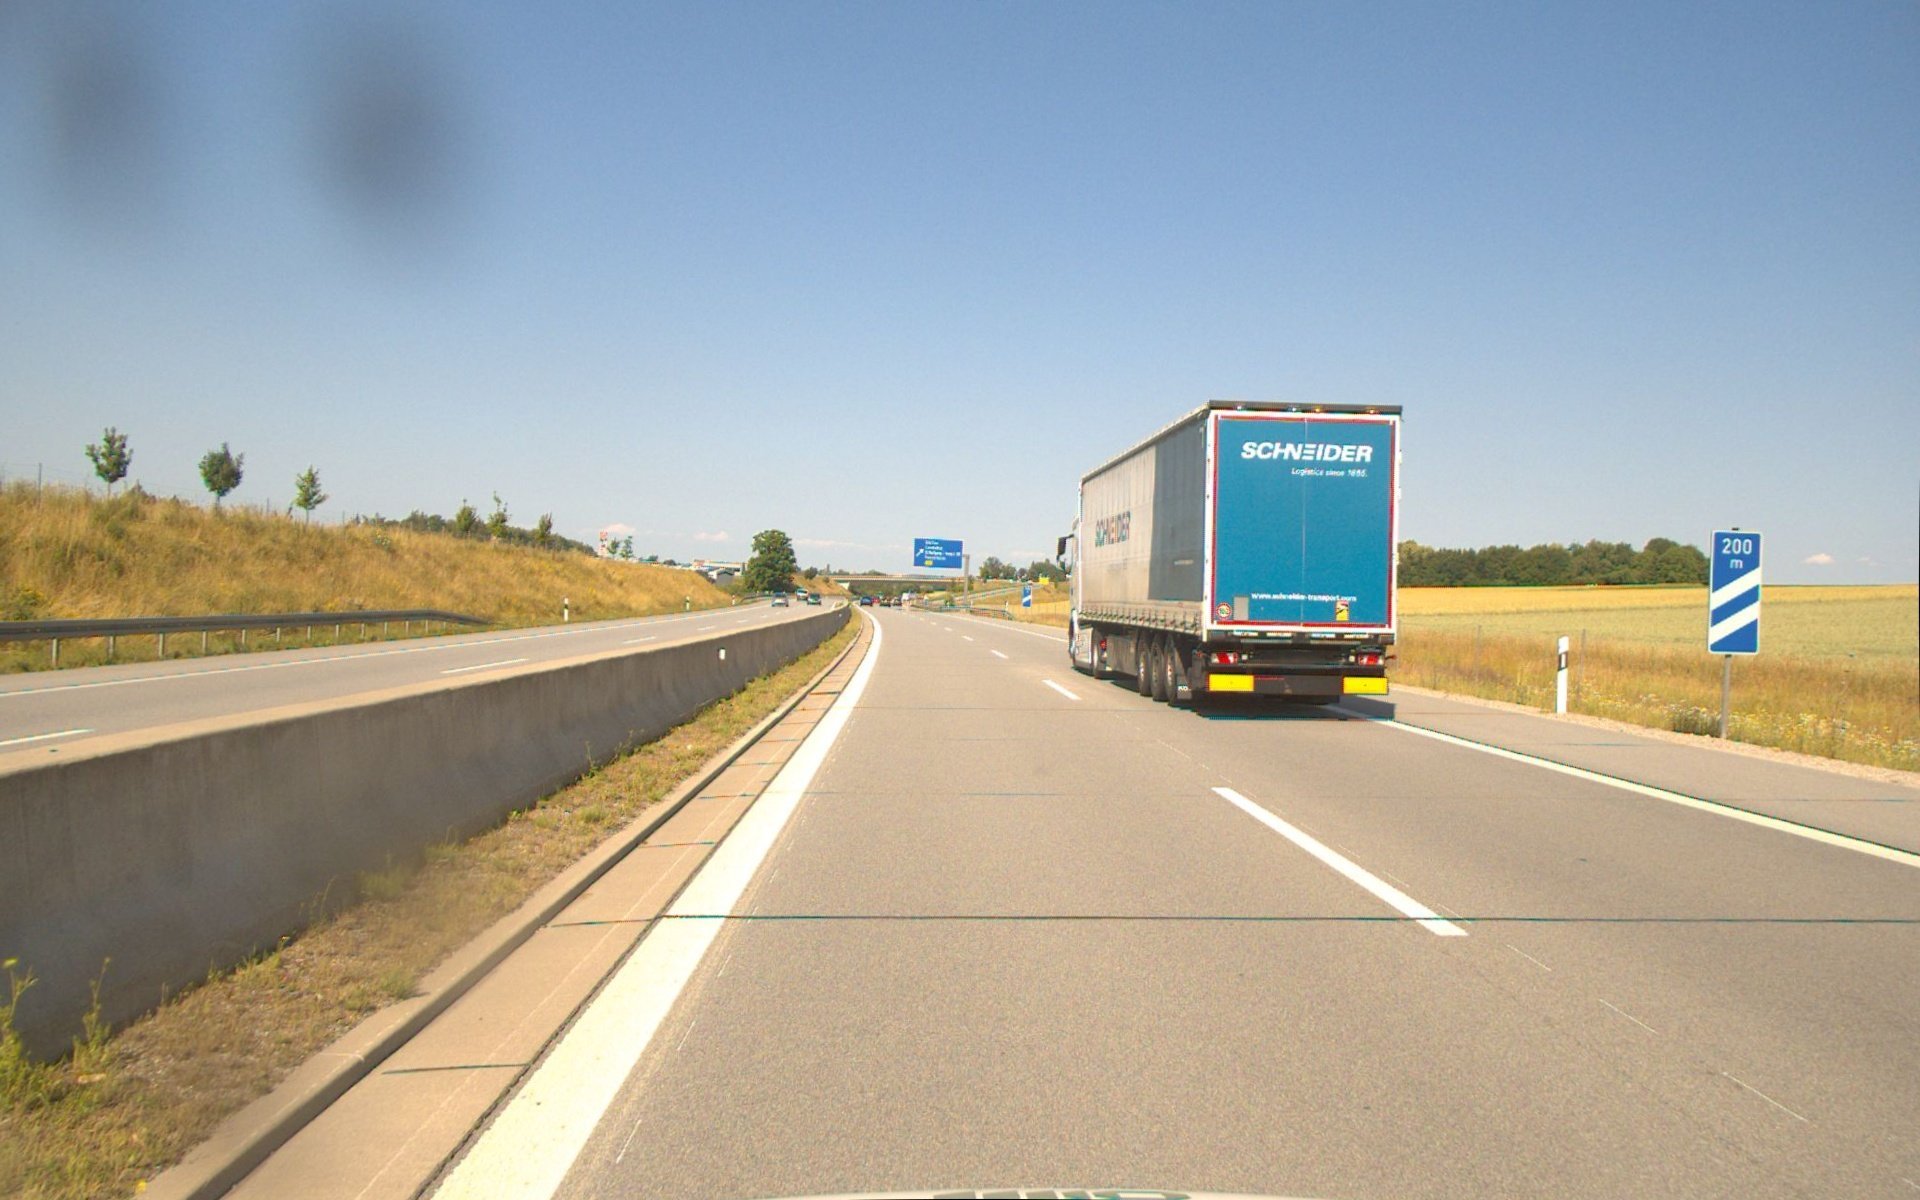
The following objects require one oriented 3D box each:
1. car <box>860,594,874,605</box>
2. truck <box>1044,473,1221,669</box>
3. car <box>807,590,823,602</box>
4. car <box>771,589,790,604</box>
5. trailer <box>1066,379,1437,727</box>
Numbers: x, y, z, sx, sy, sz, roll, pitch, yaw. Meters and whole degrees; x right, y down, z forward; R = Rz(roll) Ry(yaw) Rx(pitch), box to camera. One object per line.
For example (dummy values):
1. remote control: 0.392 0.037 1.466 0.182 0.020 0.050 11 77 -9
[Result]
1. car: -13.702 -0.122 242.813 1.953 1.579 3.998 0 0 -2
2. truck: 3.769 -0.632 37.620 3.021 4.084 6.184 0 0 -4
3. car: -18.745 -0.519 213.680 1.843 1.603 4.558 0 0 -7
4. car: -19.049 -0.382 175.503 1.842 1.528 4.561 0 0 -5
5. trailer: 4.176 -0.626 28.552 3.112 4.369 15.453 0 0 -2
